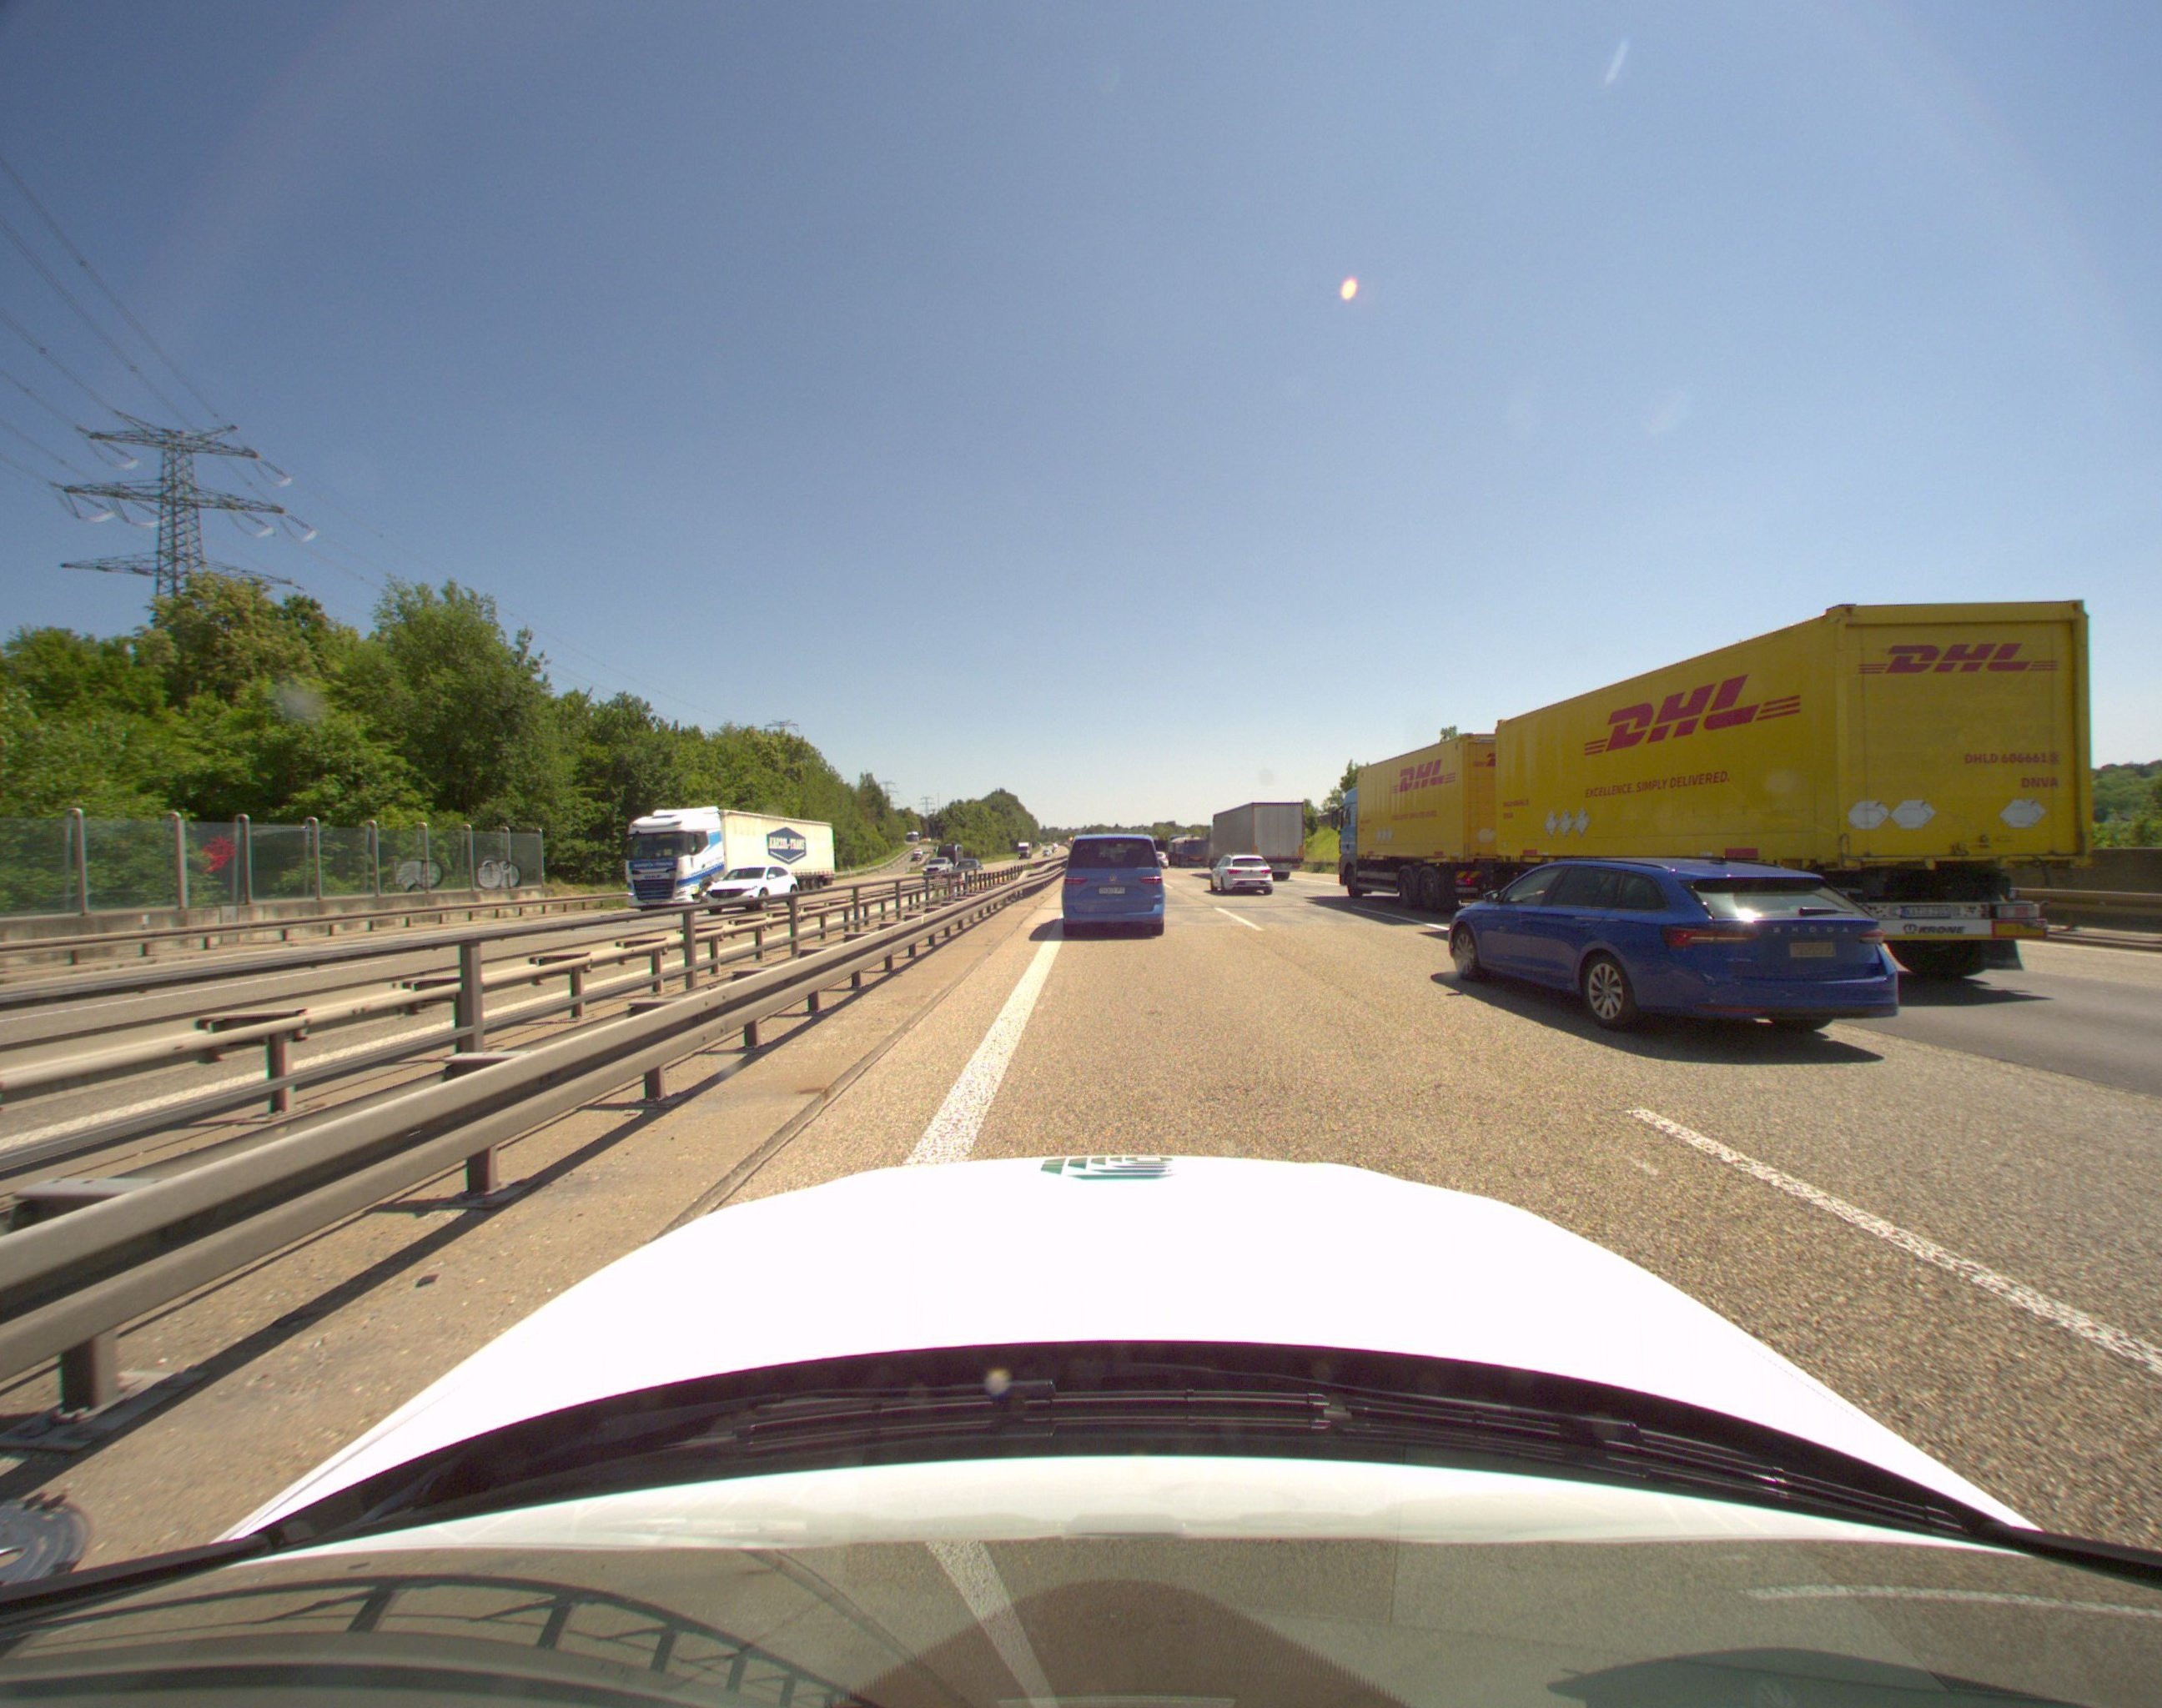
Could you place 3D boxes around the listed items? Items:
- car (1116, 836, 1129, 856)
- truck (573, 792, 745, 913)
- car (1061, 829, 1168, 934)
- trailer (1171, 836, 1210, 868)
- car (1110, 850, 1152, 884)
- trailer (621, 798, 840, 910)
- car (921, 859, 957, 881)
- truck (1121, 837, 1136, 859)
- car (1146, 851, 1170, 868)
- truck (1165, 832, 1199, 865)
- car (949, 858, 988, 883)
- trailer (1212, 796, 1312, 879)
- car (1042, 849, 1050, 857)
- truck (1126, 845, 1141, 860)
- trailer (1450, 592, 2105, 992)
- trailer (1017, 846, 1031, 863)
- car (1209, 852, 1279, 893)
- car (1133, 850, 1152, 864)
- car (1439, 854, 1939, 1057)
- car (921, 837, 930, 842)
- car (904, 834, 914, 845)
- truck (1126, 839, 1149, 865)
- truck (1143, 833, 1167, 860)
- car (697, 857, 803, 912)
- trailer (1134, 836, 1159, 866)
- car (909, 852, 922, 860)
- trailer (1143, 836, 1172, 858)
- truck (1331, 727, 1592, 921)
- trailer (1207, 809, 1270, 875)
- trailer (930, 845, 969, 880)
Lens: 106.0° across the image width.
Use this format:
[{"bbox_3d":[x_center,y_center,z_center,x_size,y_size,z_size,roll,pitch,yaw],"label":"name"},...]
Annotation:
[{"bbox_3d":[11.088,-2.027,219.982,3.207,5.257,8.144,0,-1,1],"label":"car"},{"bbox_3d":[-16.276,-0.015,31.898,3.992,4.228,4.859,-2,-1,1],"label":"truck"},{"bbox_3d":[0.667,0.506,16.368,1.894,1.838,4.002,0,-1,2],"label":"car"},{"bbox_3d":[10.415,-0.255,78.445,2.734,2.836,9.117,0,1,1],"label":"trailer"},{"bbox_3d":[2.341,0.615,39.101,1.864,1.552,4.000,0,-1,1],"label":"car"},{"bbox_3d":[-16.017,0.075,39.409,3.974,4.235,14.044,-4,-1,2],"label":"trailer"},{"bbox_3d":[-11.302,1.267,65.036,1.864,1.625,4.630,-2,-1,2],"label":"car"},{"bbox_3d":[11.022,-1.412,189.089,3.058,4.920,10.689,0,-1,0],"label":"truck"},{"bbox_3d":[6.824,0.469,72.405,1.833,1.454,4.002,0,-1,2],"label":"car"},{"bbox_3d":[10.557,-0.625,85.656,2.734,3.311,7.134,0,1,1],"label":"truck"},{"bbox_3d":[-7.183,1.042,52.281,1.785,1.573,4.001,0,-1,2],"label":"car"},{"bbox_3d":[10.072,-0.823,47.304,2.952,4.049,13.753,-1,0,1],"label":"trailer"},{"bbox_3d":[-9.736,-0.294,226.840,1.986,1.941,4.898,0,-1,2],"label":"car"},{"bbox_3d":[6.712,-0.153,103.714,1.719,1.857,4.000,0,-1,0],"label":"truck"},{"bbox_3d":[9.299,-0.638,13.090,2.755,4.117,9.380,0,0,2],"label":"trailer"},{"bbox_3d":[-14.014,0.168,200.855,2.747,3.976,6.132,-3,0,1],"label":"trailer"},{"bbox_3d":[5.807,0.626,29.385,1.860,1.361,4.002,0,0,2],"label":"car"},{"bbox_3d":[6.779,0.382,89.806,1.775,1.524,4.000,0,-1,0],"label":"car"},{"bbox_3d":[5.301,0.733,8.015,1.700,1.441,4.429,0,0,1],"label":"car"},{"bbox_3d":[-47.369,-4.340,247.894,1.942,1.510,4.372,0,-1,-18],"label":"car"},{"bbox_3d":[-49.870,-4.291,236.222,2.074,2.880,6.691,-2,-1,-18],"label":"car"},{"bbox_3d":[11.633,-0.249,169.727,3.610,5.213,15.682,0,-1,-1],"label":"truck"},{"bbox_3d":[11.722,-1.188,129.411,3.611,4.094,7.530,0,-1,3],"label":"truck"},{"bbox_3d":[-11.454,1.024,28.547,1.743,1.696,4.386,-3,-1,2],"label":"car"},{"bbox_3d":[11.783,-0.487,148.325,3.634,5.136,13.076,0,-1,1],"label":"trailer"},{"bbox_3d":[-32.249,0.470,159.027,1.991,1.576,5.263,0,-1,-6],"label":"car"},{"bbox_3d":[11.339,-0.921,122.450,3.631,3.079,15.782,0,-1,3],"label":"trailer"},{"bbox_3d":[9.589,-0.639,22.231,2.755,4.109,9.956,0,0,2],"label":"truck"},{"bbox_3d":[10.172,-0.762,53.278,2.914,4.044,6.411,-1,0,1],"label":"trailer"},{"bbox_3d":[-11.221,0.741,70.004,2.158,2.777,5.378,-4,-1,2],"label":"trailer"}]
